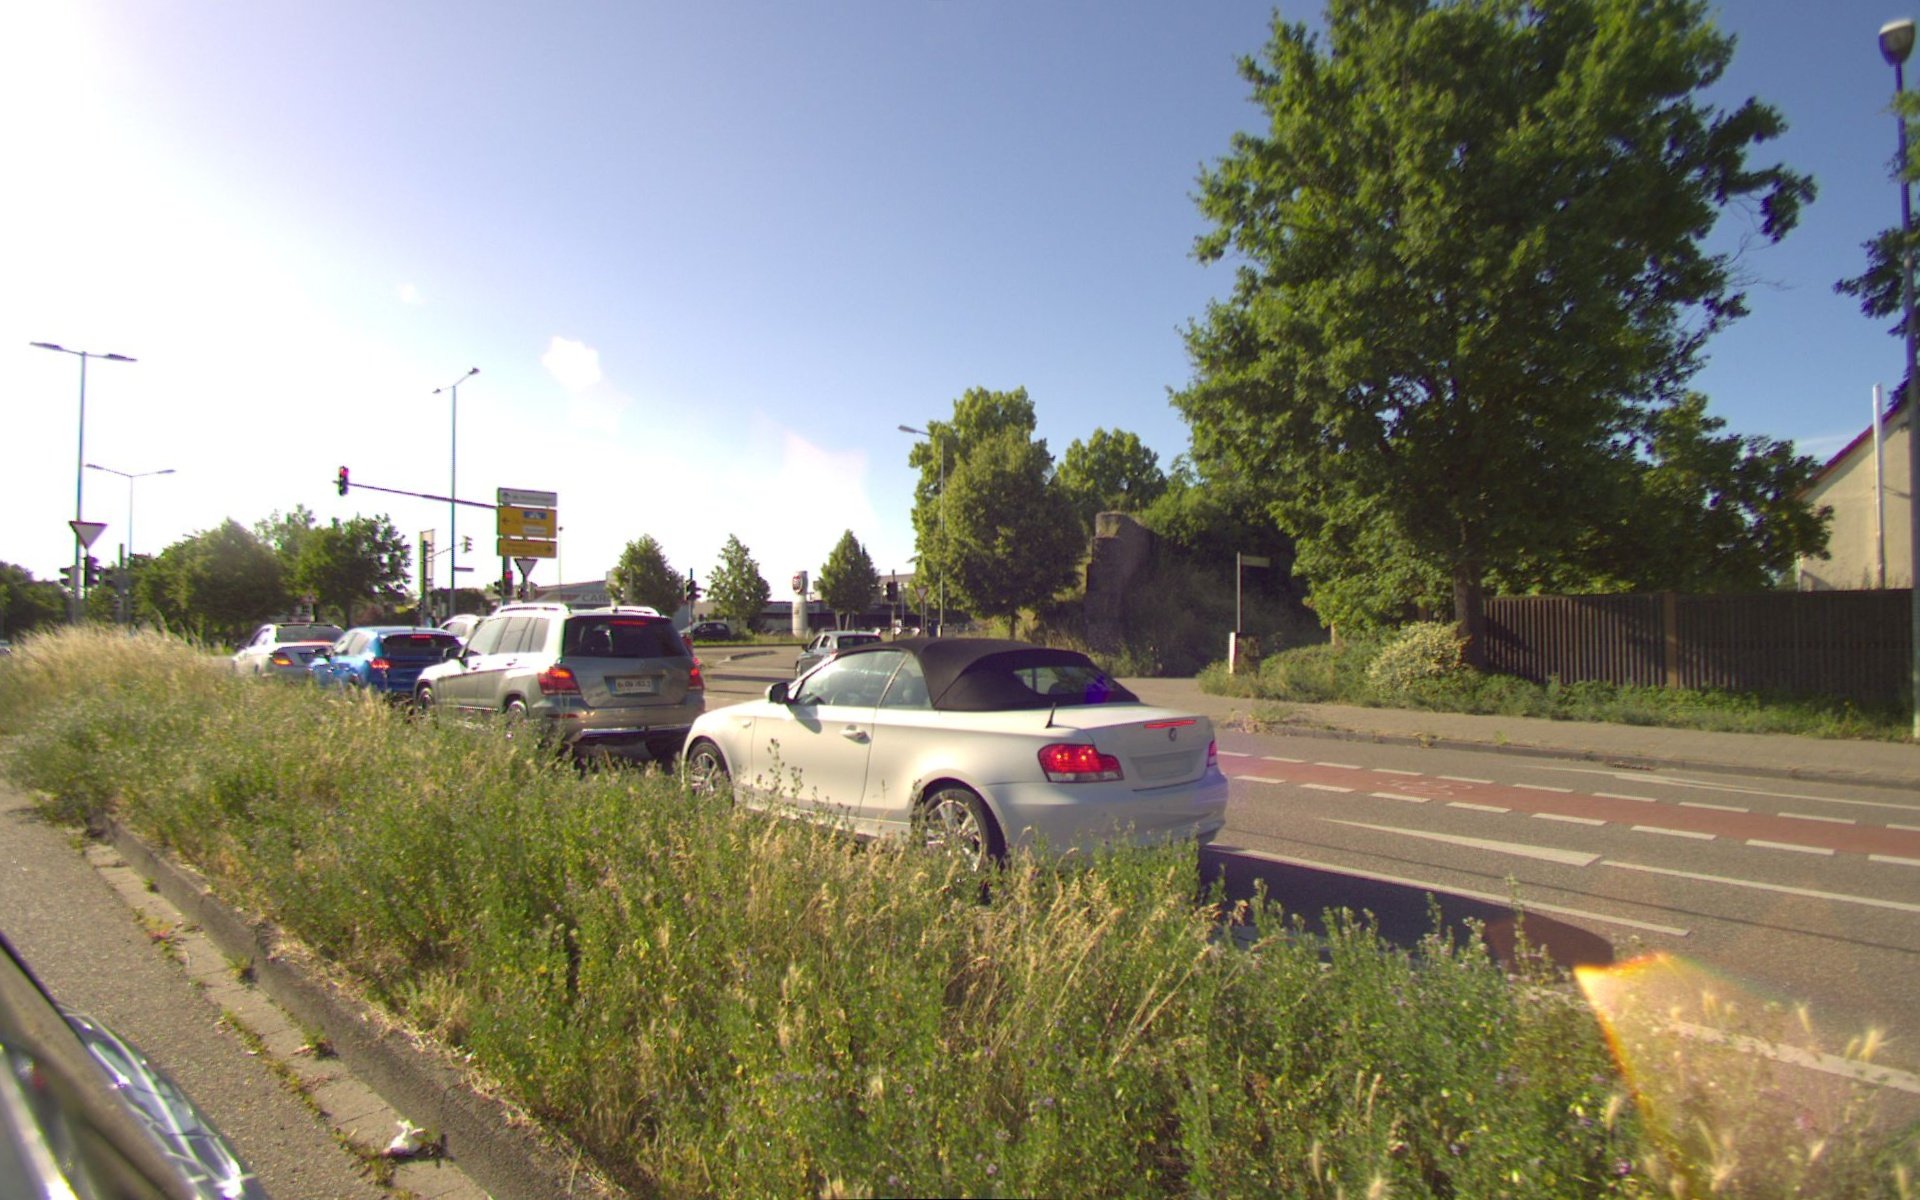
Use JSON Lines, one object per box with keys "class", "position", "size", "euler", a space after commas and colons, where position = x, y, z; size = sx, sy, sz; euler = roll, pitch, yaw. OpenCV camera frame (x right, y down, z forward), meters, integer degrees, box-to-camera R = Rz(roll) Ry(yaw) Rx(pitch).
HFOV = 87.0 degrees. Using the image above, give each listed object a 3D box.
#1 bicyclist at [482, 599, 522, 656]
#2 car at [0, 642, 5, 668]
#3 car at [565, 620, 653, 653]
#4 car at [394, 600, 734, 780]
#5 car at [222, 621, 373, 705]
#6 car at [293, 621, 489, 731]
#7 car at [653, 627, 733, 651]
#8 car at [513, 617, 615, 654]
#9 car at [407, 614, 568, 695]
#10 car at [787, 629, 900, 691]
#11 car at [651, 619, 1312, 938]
{"class": "bicyclist", "position": [-14.100, 0.850, 31.158], "size": [0.736, 1.715, 1.242], "euler": [2, -3, -45]}
{"class": "car", "position": [-79.071, 4.445, 82.413], "size": [4.001, 2.029, 1.706], "euler": [-1, -3, 44]}
{"class": "car", "position": [-18.519, 1.933, 53.471], "size": [1.892, 1.657, 3.983], "euler": [-5, -5, 42]}
{"class": "car", "position": [-4.652, 0.895, 11.499], "size": [1.970, 1.628, 4.533], "euler": [2, -3, -44]}
{"class": "car", "position": [-13.626, 1.229, 20.701], "size": [1.772, 1.517, 4.534], "euler": [2, -3, -44]}
{"class": "car", "position": [-8.916, 1.100, 15.713], "size": [1.726, 1.494, 3.891], "euler": [2, -3, -44]}
{"class": "car", "position": [-15.099, 2.221, 57.391], "size": [1.892, 1.284, 3.983], "euler": [-5, -5, 42]}
{"class": "car", "position": [-22.937, 2.056, 58.757], "size": [2.047, 2.029, 5.202], "euler": [-5, -5, 41]}
{"class": "car", "position": [-10.885, 1.198, 23.144], "size": [1.970, 1.656, 4.534], "euler": [2, -3, -44]}
{"class": "car", "position": [-3.008, 1.477, 25.464], "size": [1.685, 1.442, 4.013], "euler": [2, -3, -24]}
{"class": "car", "position": [-0.141, 0.895, 6.923], "size": [1.970, 1.461, 4.402], "euler": [2, -3, -44]}
